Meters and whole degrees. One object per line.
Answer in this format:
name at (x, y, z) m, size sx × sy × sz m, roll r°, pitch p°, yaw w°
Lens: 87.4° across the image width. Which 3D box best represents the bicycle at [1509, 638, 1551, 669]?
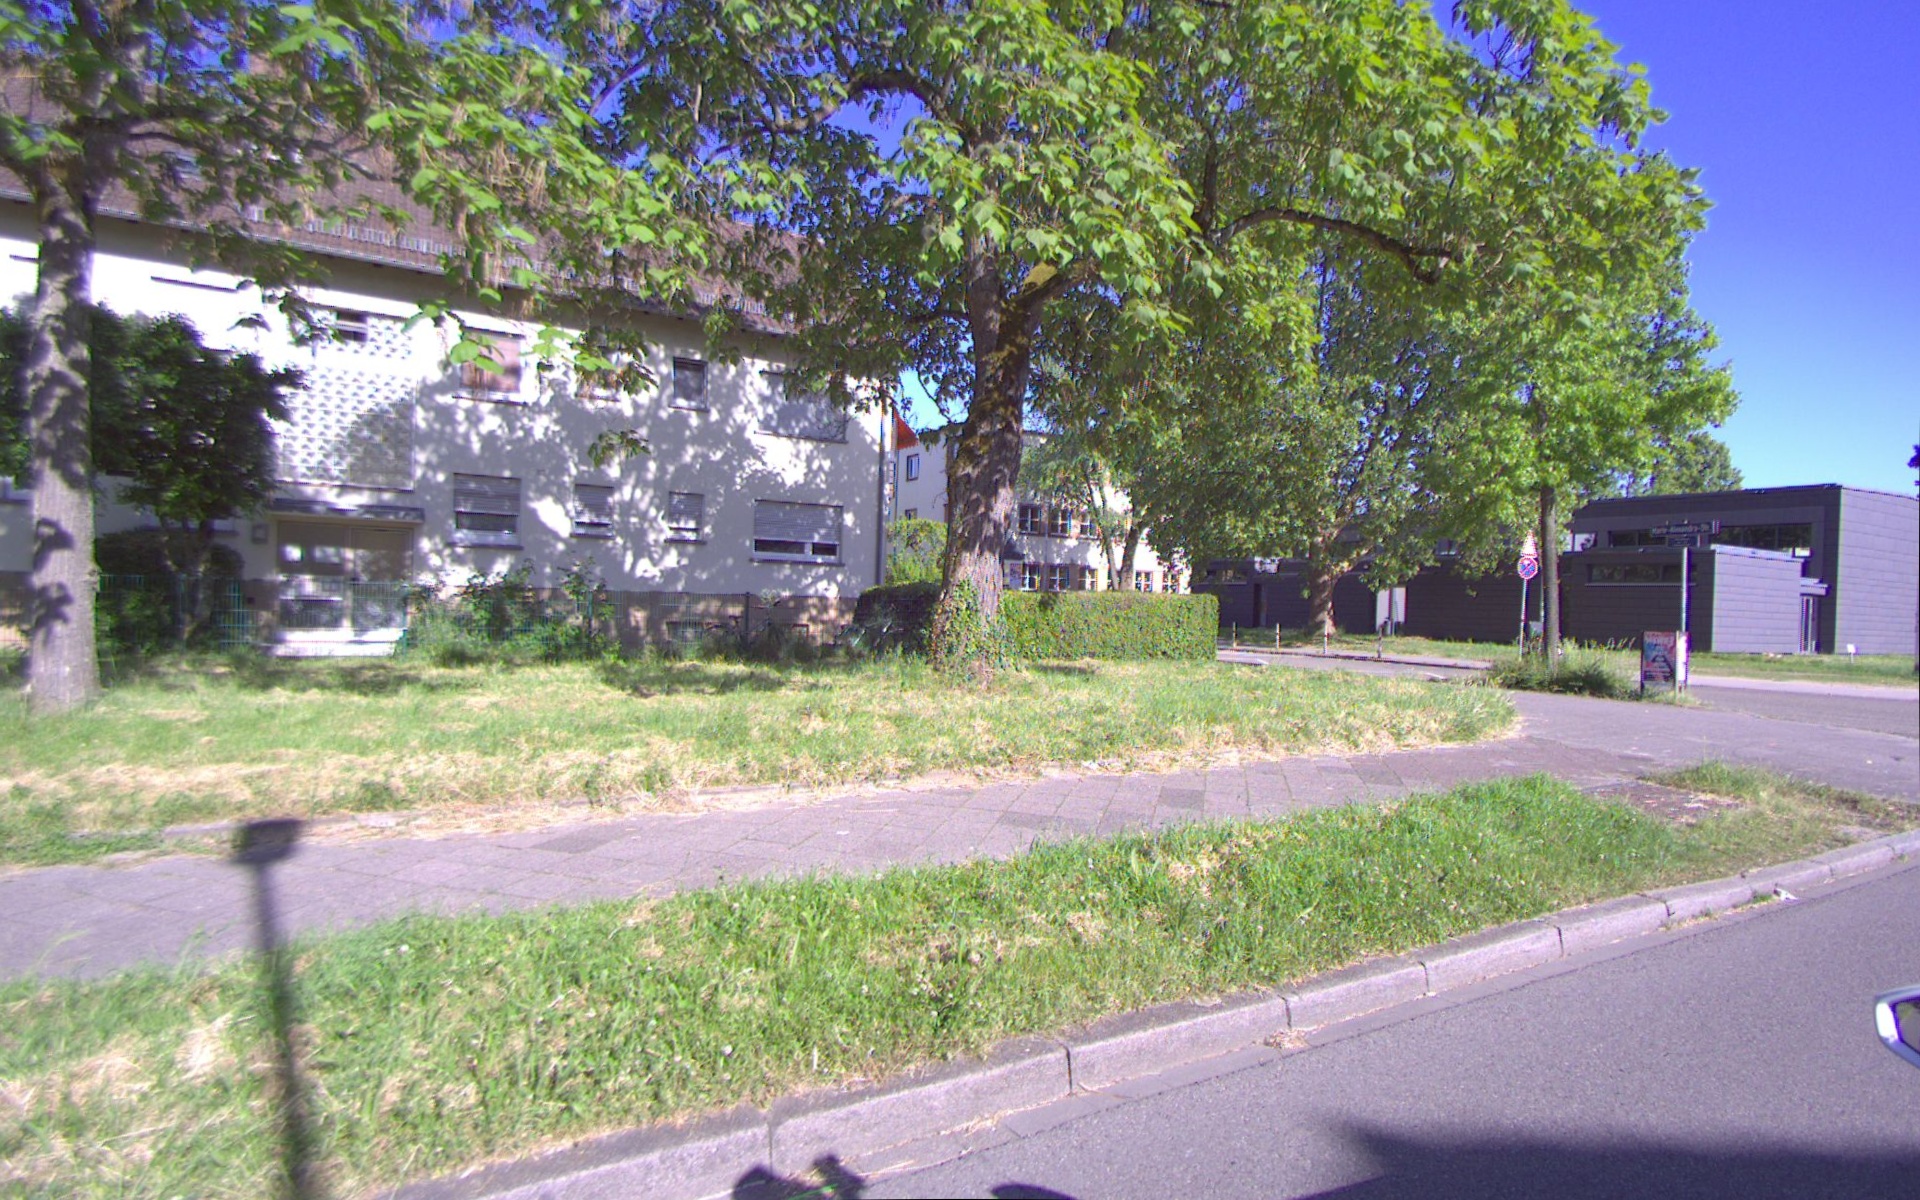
bicycle at (16.879, 1.585, 29.748) m, size 0.999 × 0.899 × 0.440 m, roll 0°, pitch 0°, yaw 16°
